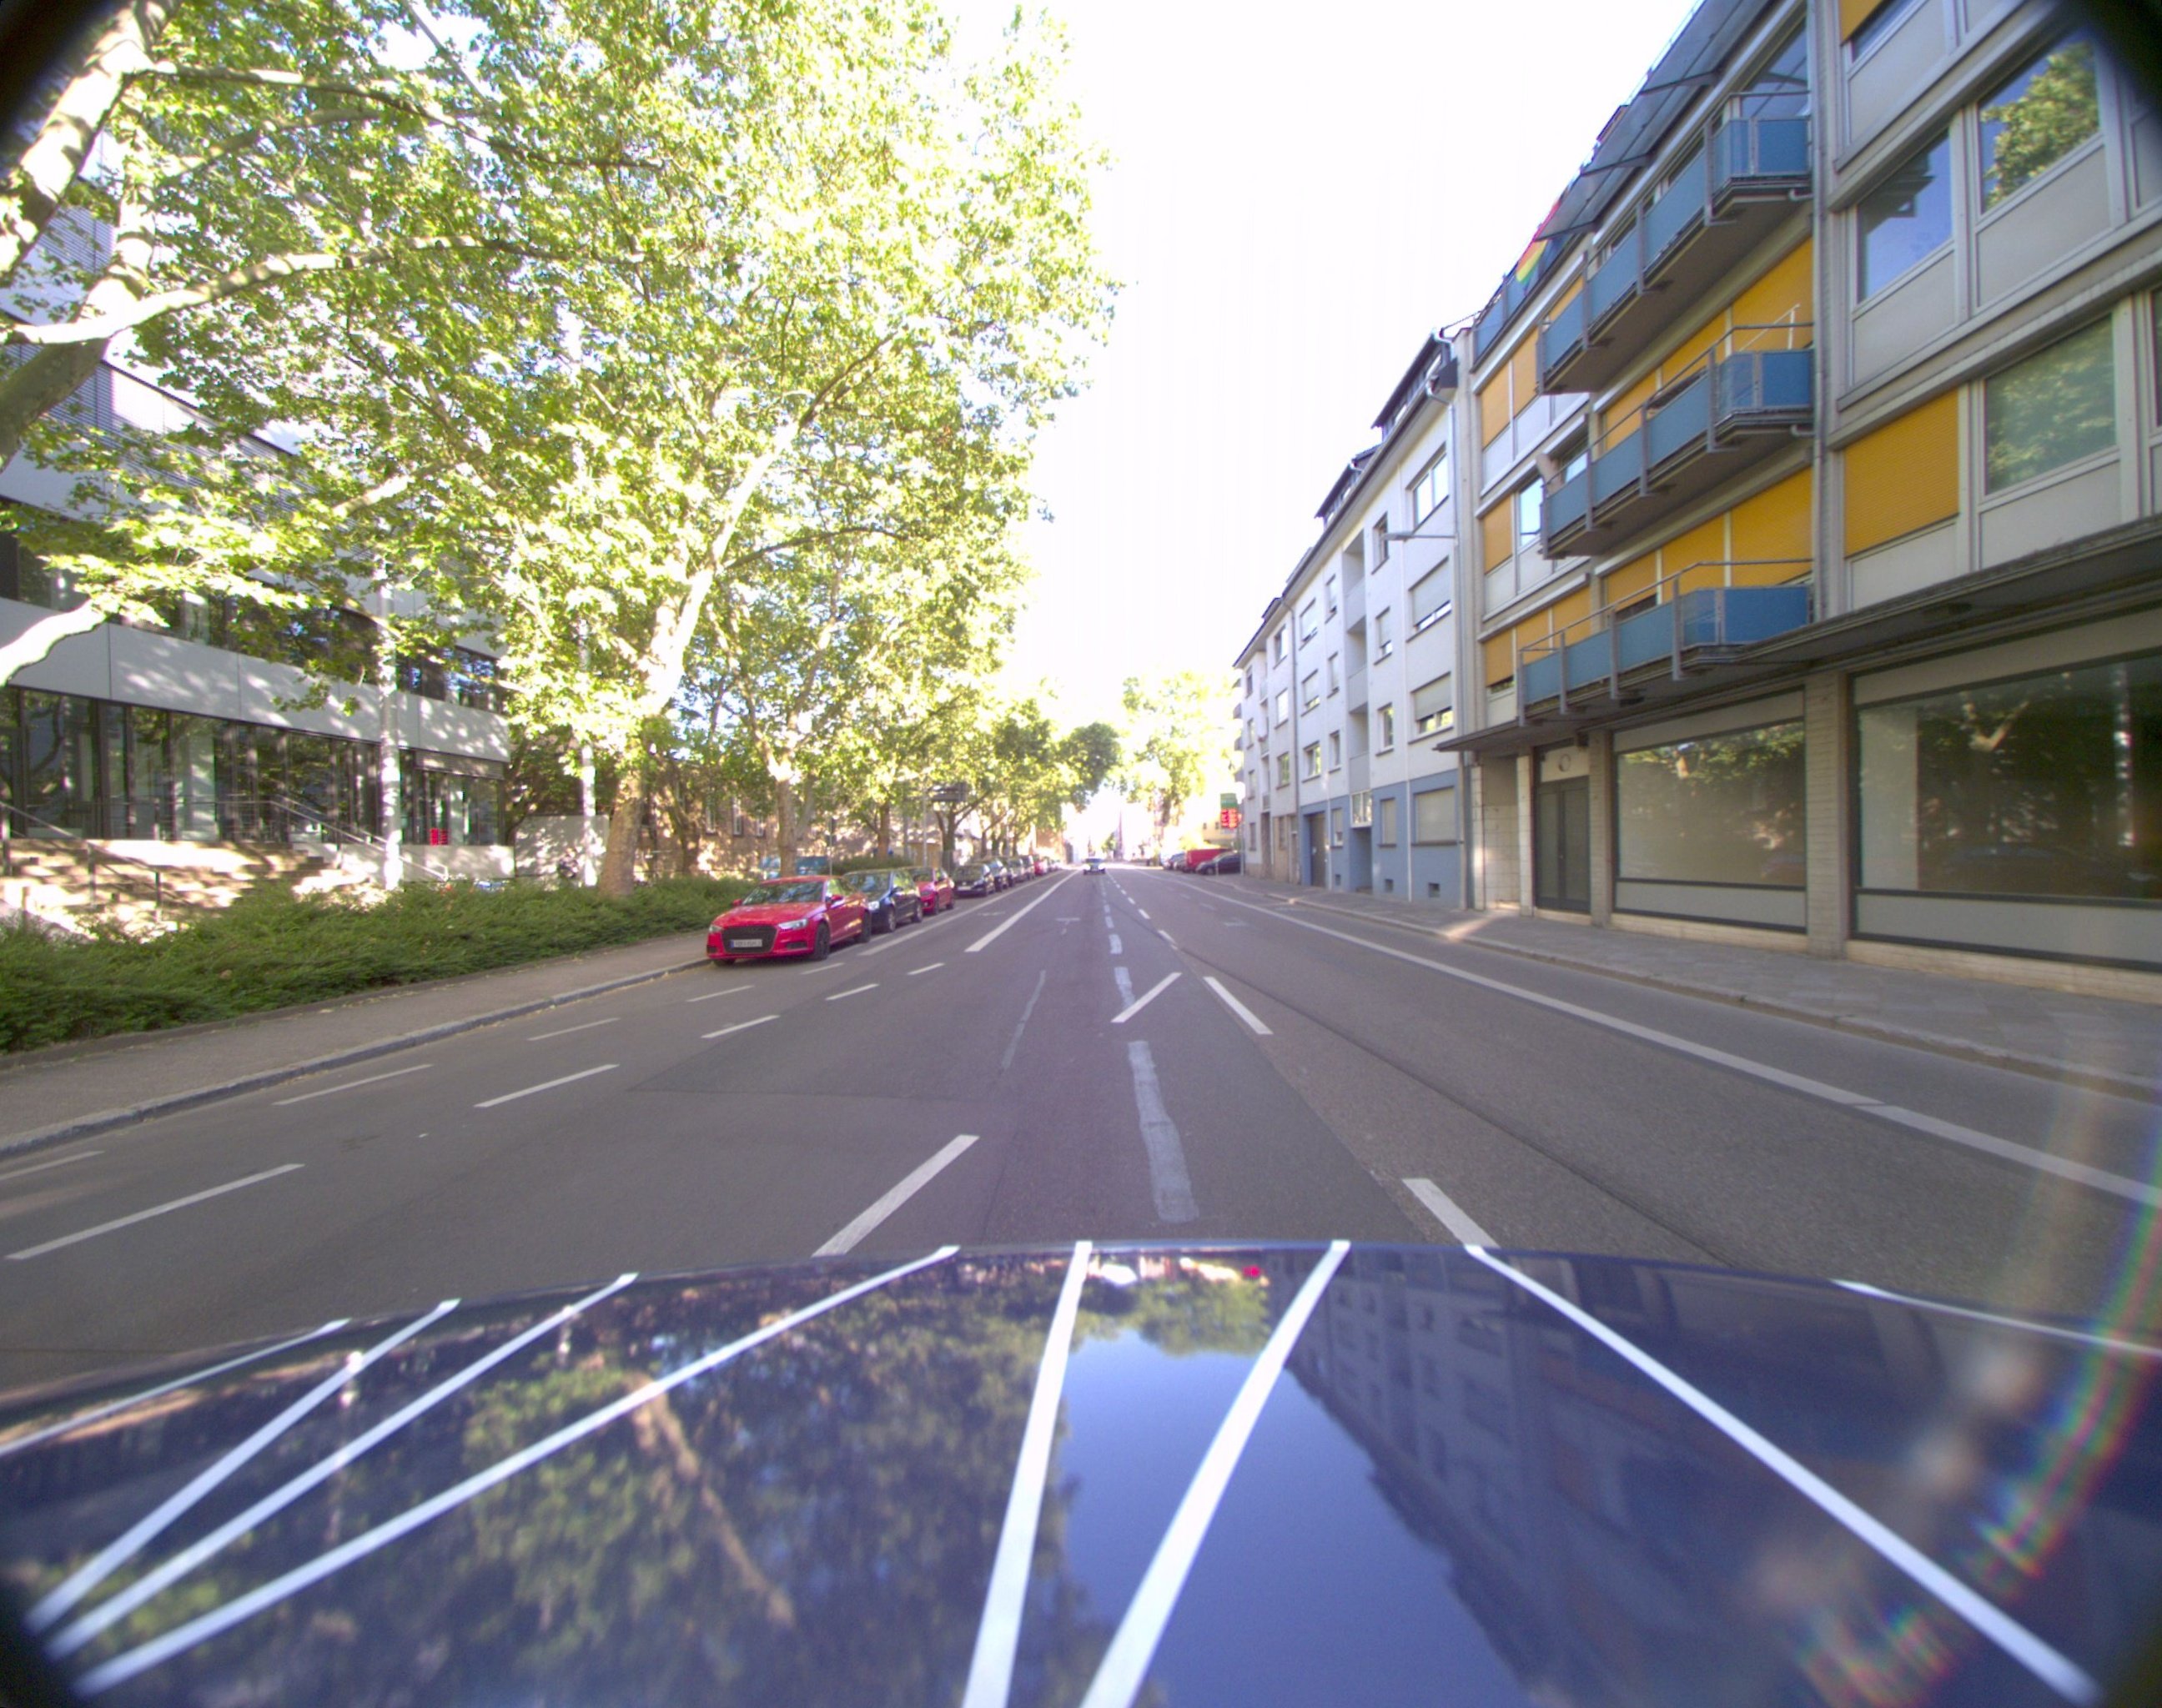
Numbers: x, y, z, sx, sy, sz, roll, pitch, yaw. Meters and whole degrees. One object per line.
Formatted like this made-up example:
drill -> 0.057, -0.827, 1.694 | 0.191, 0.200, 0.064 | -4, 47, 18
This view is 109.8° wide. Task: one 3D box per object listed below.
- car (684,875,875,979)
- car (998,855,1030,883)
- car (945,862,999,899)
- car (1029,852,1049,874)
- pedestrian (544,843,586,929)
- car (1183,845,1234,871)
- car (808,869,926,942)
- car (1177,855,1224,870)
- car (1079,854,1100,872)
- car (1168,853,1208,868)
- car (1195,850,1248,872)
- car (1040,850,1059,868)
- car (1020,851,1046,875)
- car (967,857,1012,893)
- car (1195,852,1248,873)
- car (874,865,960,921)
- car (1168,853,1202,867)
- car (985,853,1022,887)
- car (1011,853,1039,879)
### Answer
car -> -5.162, 1.180, 13.664 | 1.794, 1.384, 3.999 | -2, 1, 0
car -> -4.354, 0.943, 50.119 | 1.634, 1.604, 4.576 | -2, 1, 0
car -> -4.694, 1.113, 33.243 | 1.692, 1.414, 3.923 | -2, 1, 0
car -> -3.904, 0.811, 71.010 | 1.599, 1.835, 3.769 | -2, 1, 0
pedestrian -> -12.339, 0.757, 18.183 | 0.552, 2.002, 0.562 | -2, 1, -11
car -> 10.060, 0.324, 59.949 | 3.688, 1.897, 1.490 | -2, -1, -1
car -> -5.051, 1.163, 18.418 | 1.669, 1.410, 3.697 | -2, 1, 1
car -> 9.811, 0.697, 62.595 | 3.687, 1.122, 1.345 | -2, 1, 2
car -> 0.733, 0.758, 65.939 | 1.752, 1.423, 4.265 | -2, 0, 1
car -> 10.267, 0.631, 73.036 | 3.687, 1.238, 1.345 | -2, 1, 2
car -> 10.533, 0.488, 57.105 | 3.687, 1.503, 1.490 | -2, 1, 2
car -> -3.801, 0.588, 92.800 | 1.998, 2.002, 4.000 | -2, 0, 1
car -> -4.171, 0.727, 66.098 | 1.915, 1.940, 3.769 | -2, 1, 0
car -> -4.519, 0.994, 38.114 | 1.634, 1.569, 4.231 | -2, 1, 0
car -> 10.090, 0.593, 54.736 | 3.508, 1.380, 1.490 | -2, 1, 2
car -> -5.014, 1.134, 23.691 | 1.692, 1.441, 3.923 | -2, 1, 1
car -> 10.322, 0.586, 75.474 | 3.271, 1.238, 1.345 | -2, 1, 2
car -> -4.456, 0.856, 44.247 | 1.634, 1.781, 4.576 | -2, 1, 0
car -> -4.038, 0.818, 55.246 | 1.634, 1.725, 3.769 | -2, 1, 0
